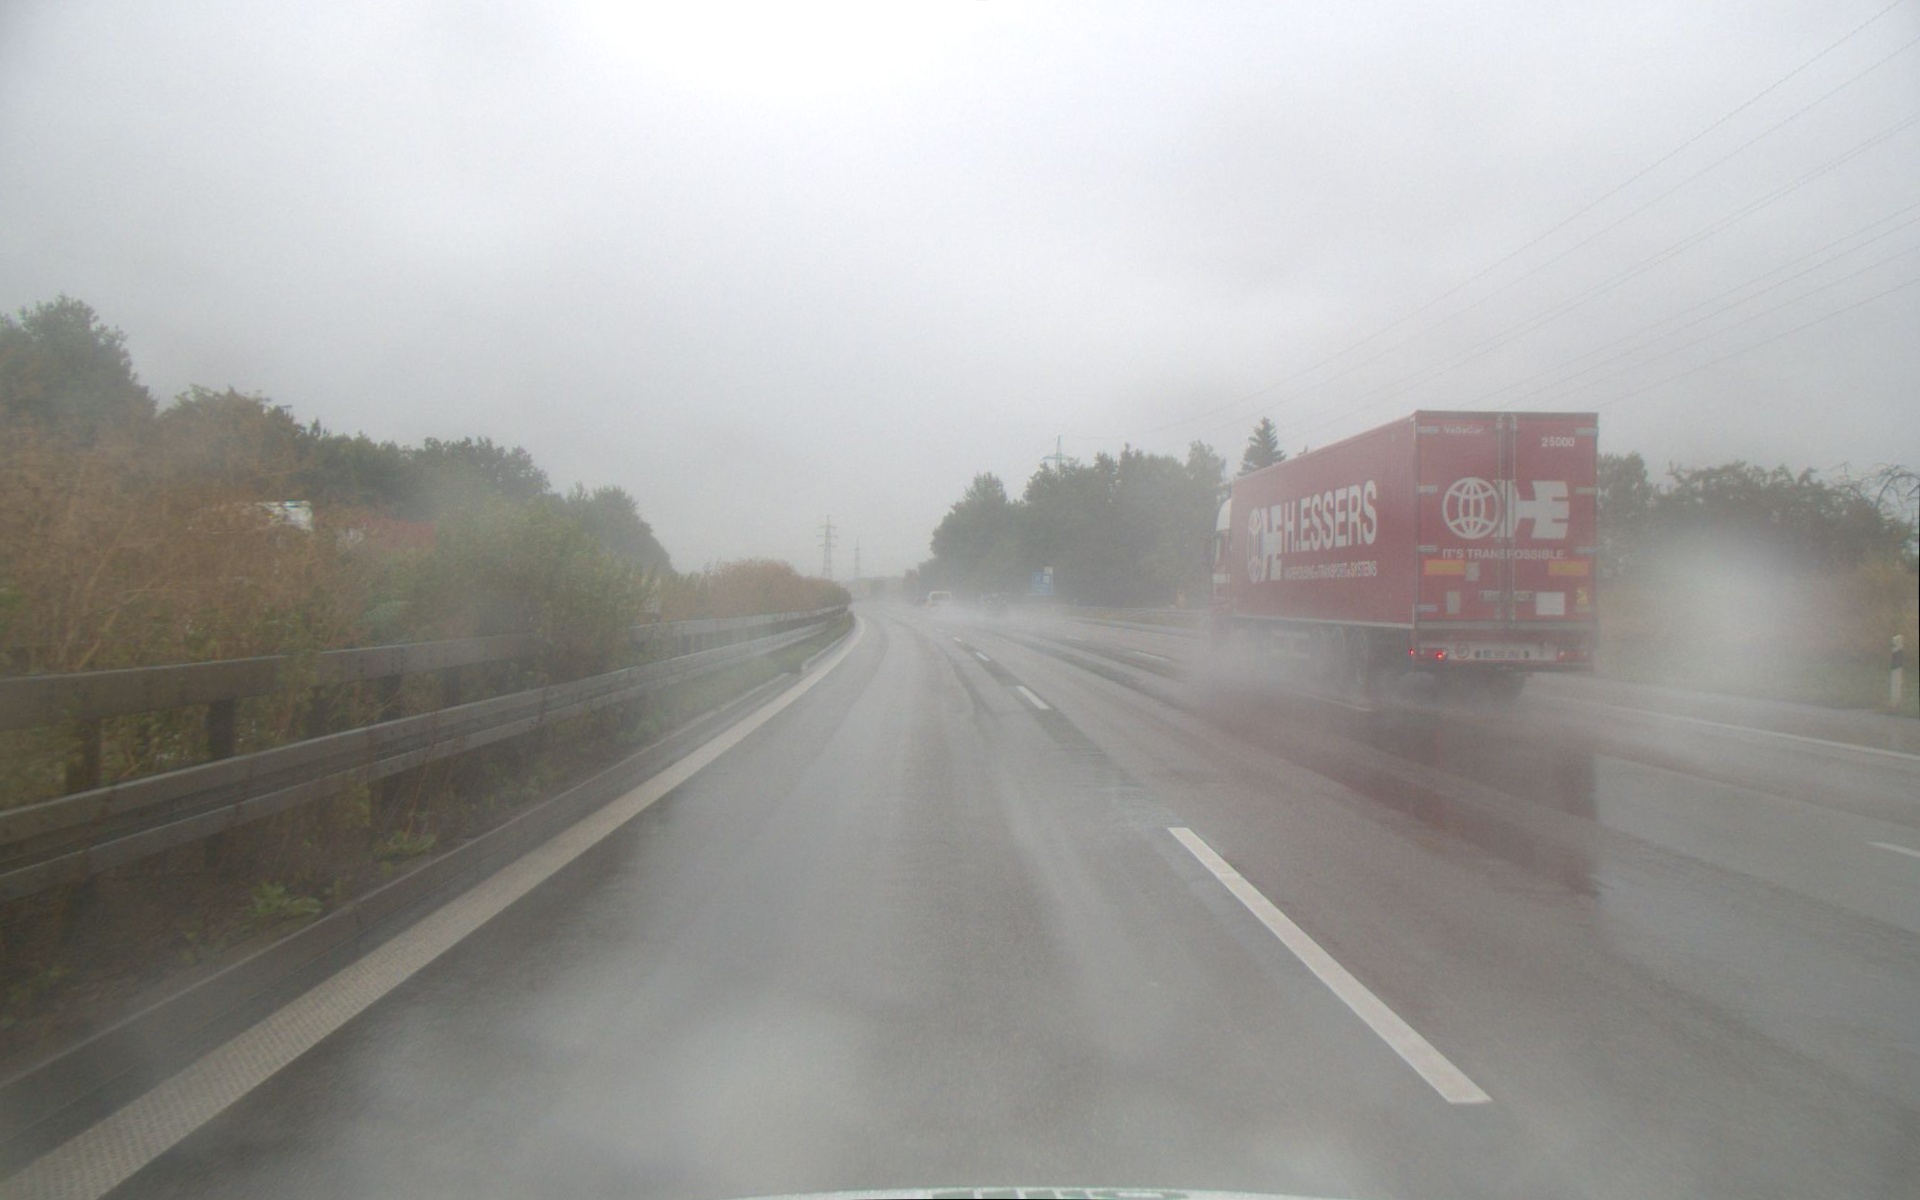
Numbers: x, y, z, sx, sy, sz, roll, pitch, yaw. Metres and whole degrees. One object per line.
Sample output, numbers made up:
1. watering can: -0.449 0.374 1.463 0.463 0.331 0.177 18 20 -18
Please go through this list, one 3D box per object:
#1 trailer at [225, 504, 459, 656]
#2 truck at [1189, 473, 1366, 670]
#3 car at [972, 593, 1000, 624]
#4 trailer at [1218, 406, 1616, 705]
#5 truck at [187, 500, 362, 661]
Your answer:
1. trailer: -17.716 -0.516 48.571 2.546 3.898 12.208 0 0 -1
2. truck: 6.889 -0.592 36.630 2.568 4.024 5.429 -1 0 -3
3. car: 1.901 0.604 121.176 1.771 2.196 3.998 0 0 -3
4. trailer: 7.269 -0.621 29.228 2.568 4.024 13.622 -1 0 -3
5. truck: -17.559 -0.484 42.679 2.532 3.898 4.973 0 0 -1
